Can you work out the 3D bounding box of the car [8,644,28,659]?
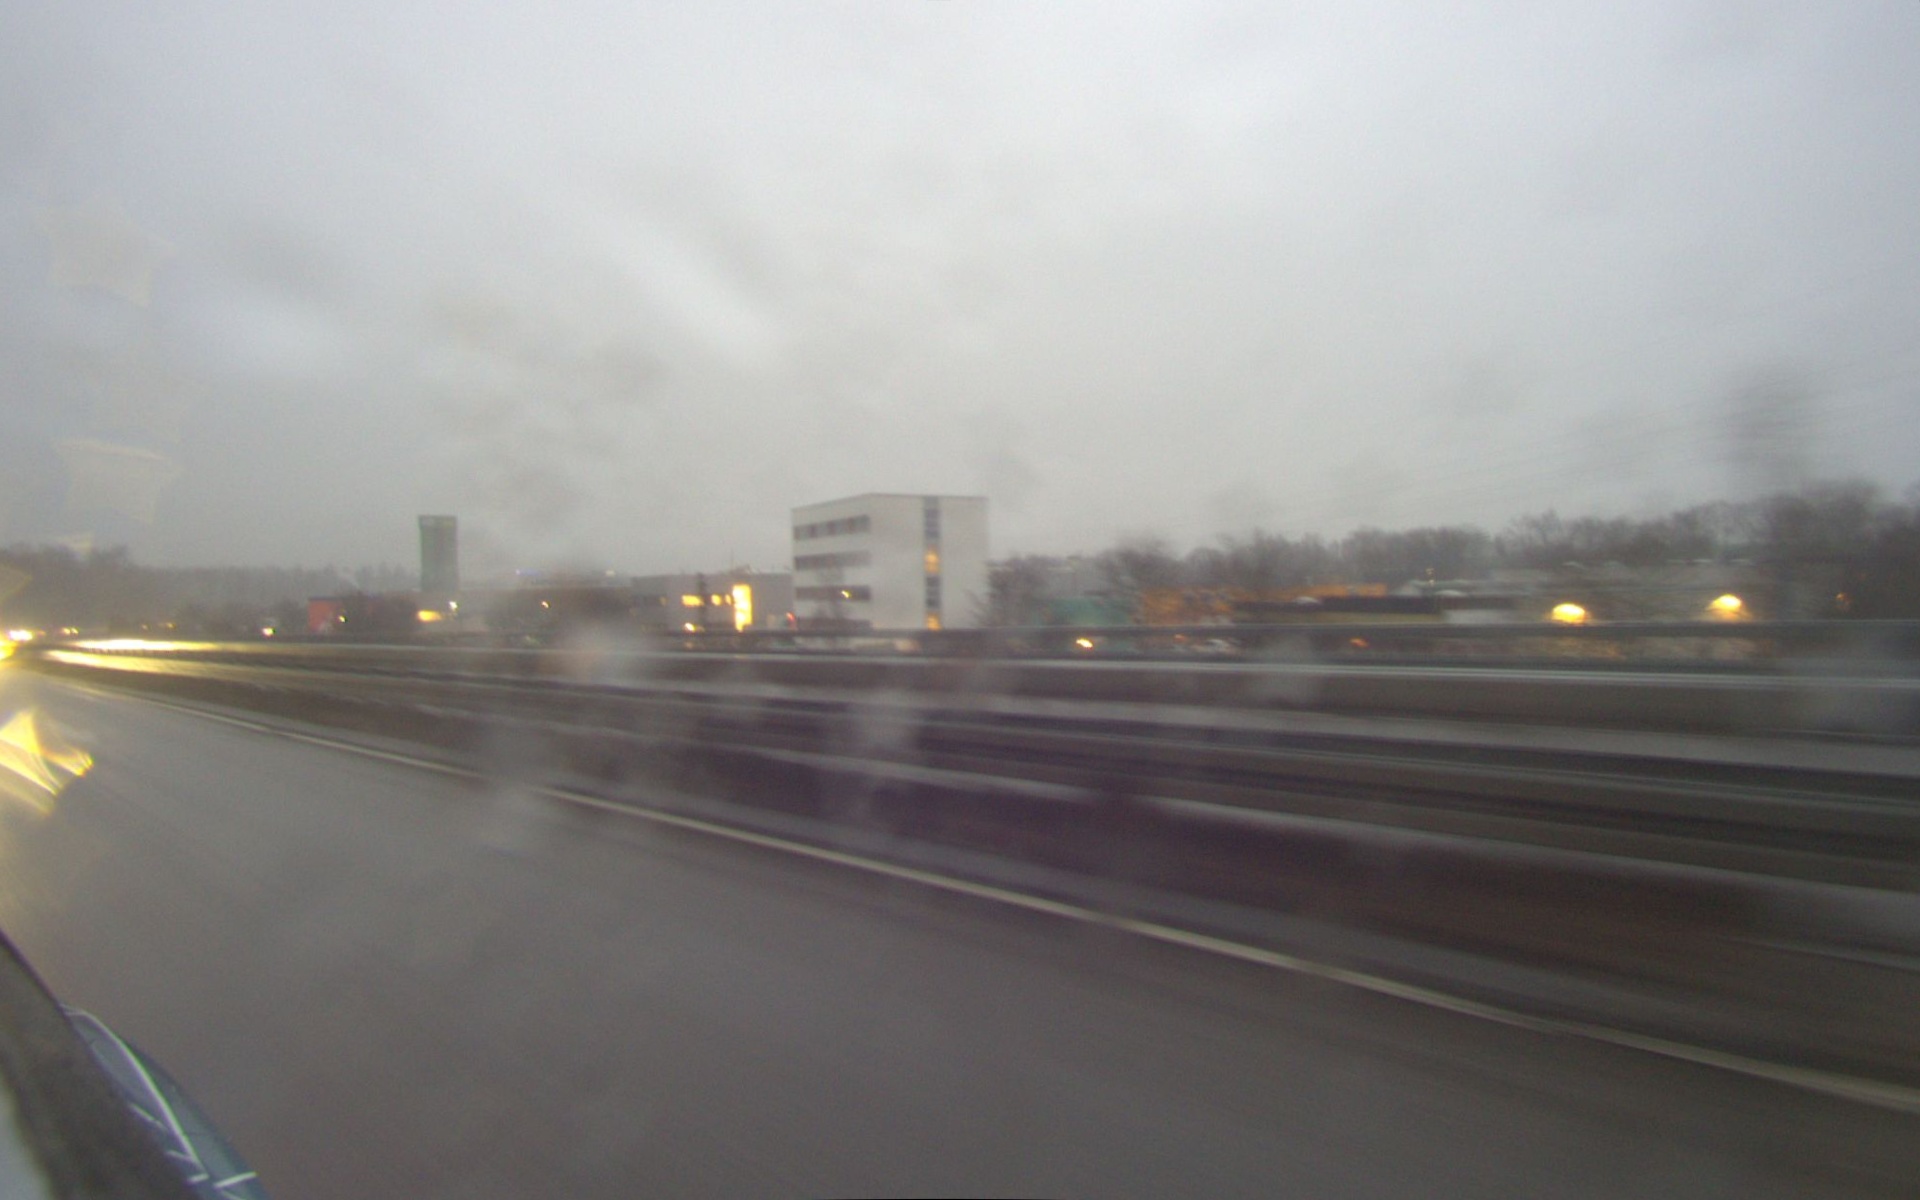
[{"bbox_3d":[-126.049,6.904,135.443,1.970,1.863,3.676,0,-1,-43],"label":"car"}]
